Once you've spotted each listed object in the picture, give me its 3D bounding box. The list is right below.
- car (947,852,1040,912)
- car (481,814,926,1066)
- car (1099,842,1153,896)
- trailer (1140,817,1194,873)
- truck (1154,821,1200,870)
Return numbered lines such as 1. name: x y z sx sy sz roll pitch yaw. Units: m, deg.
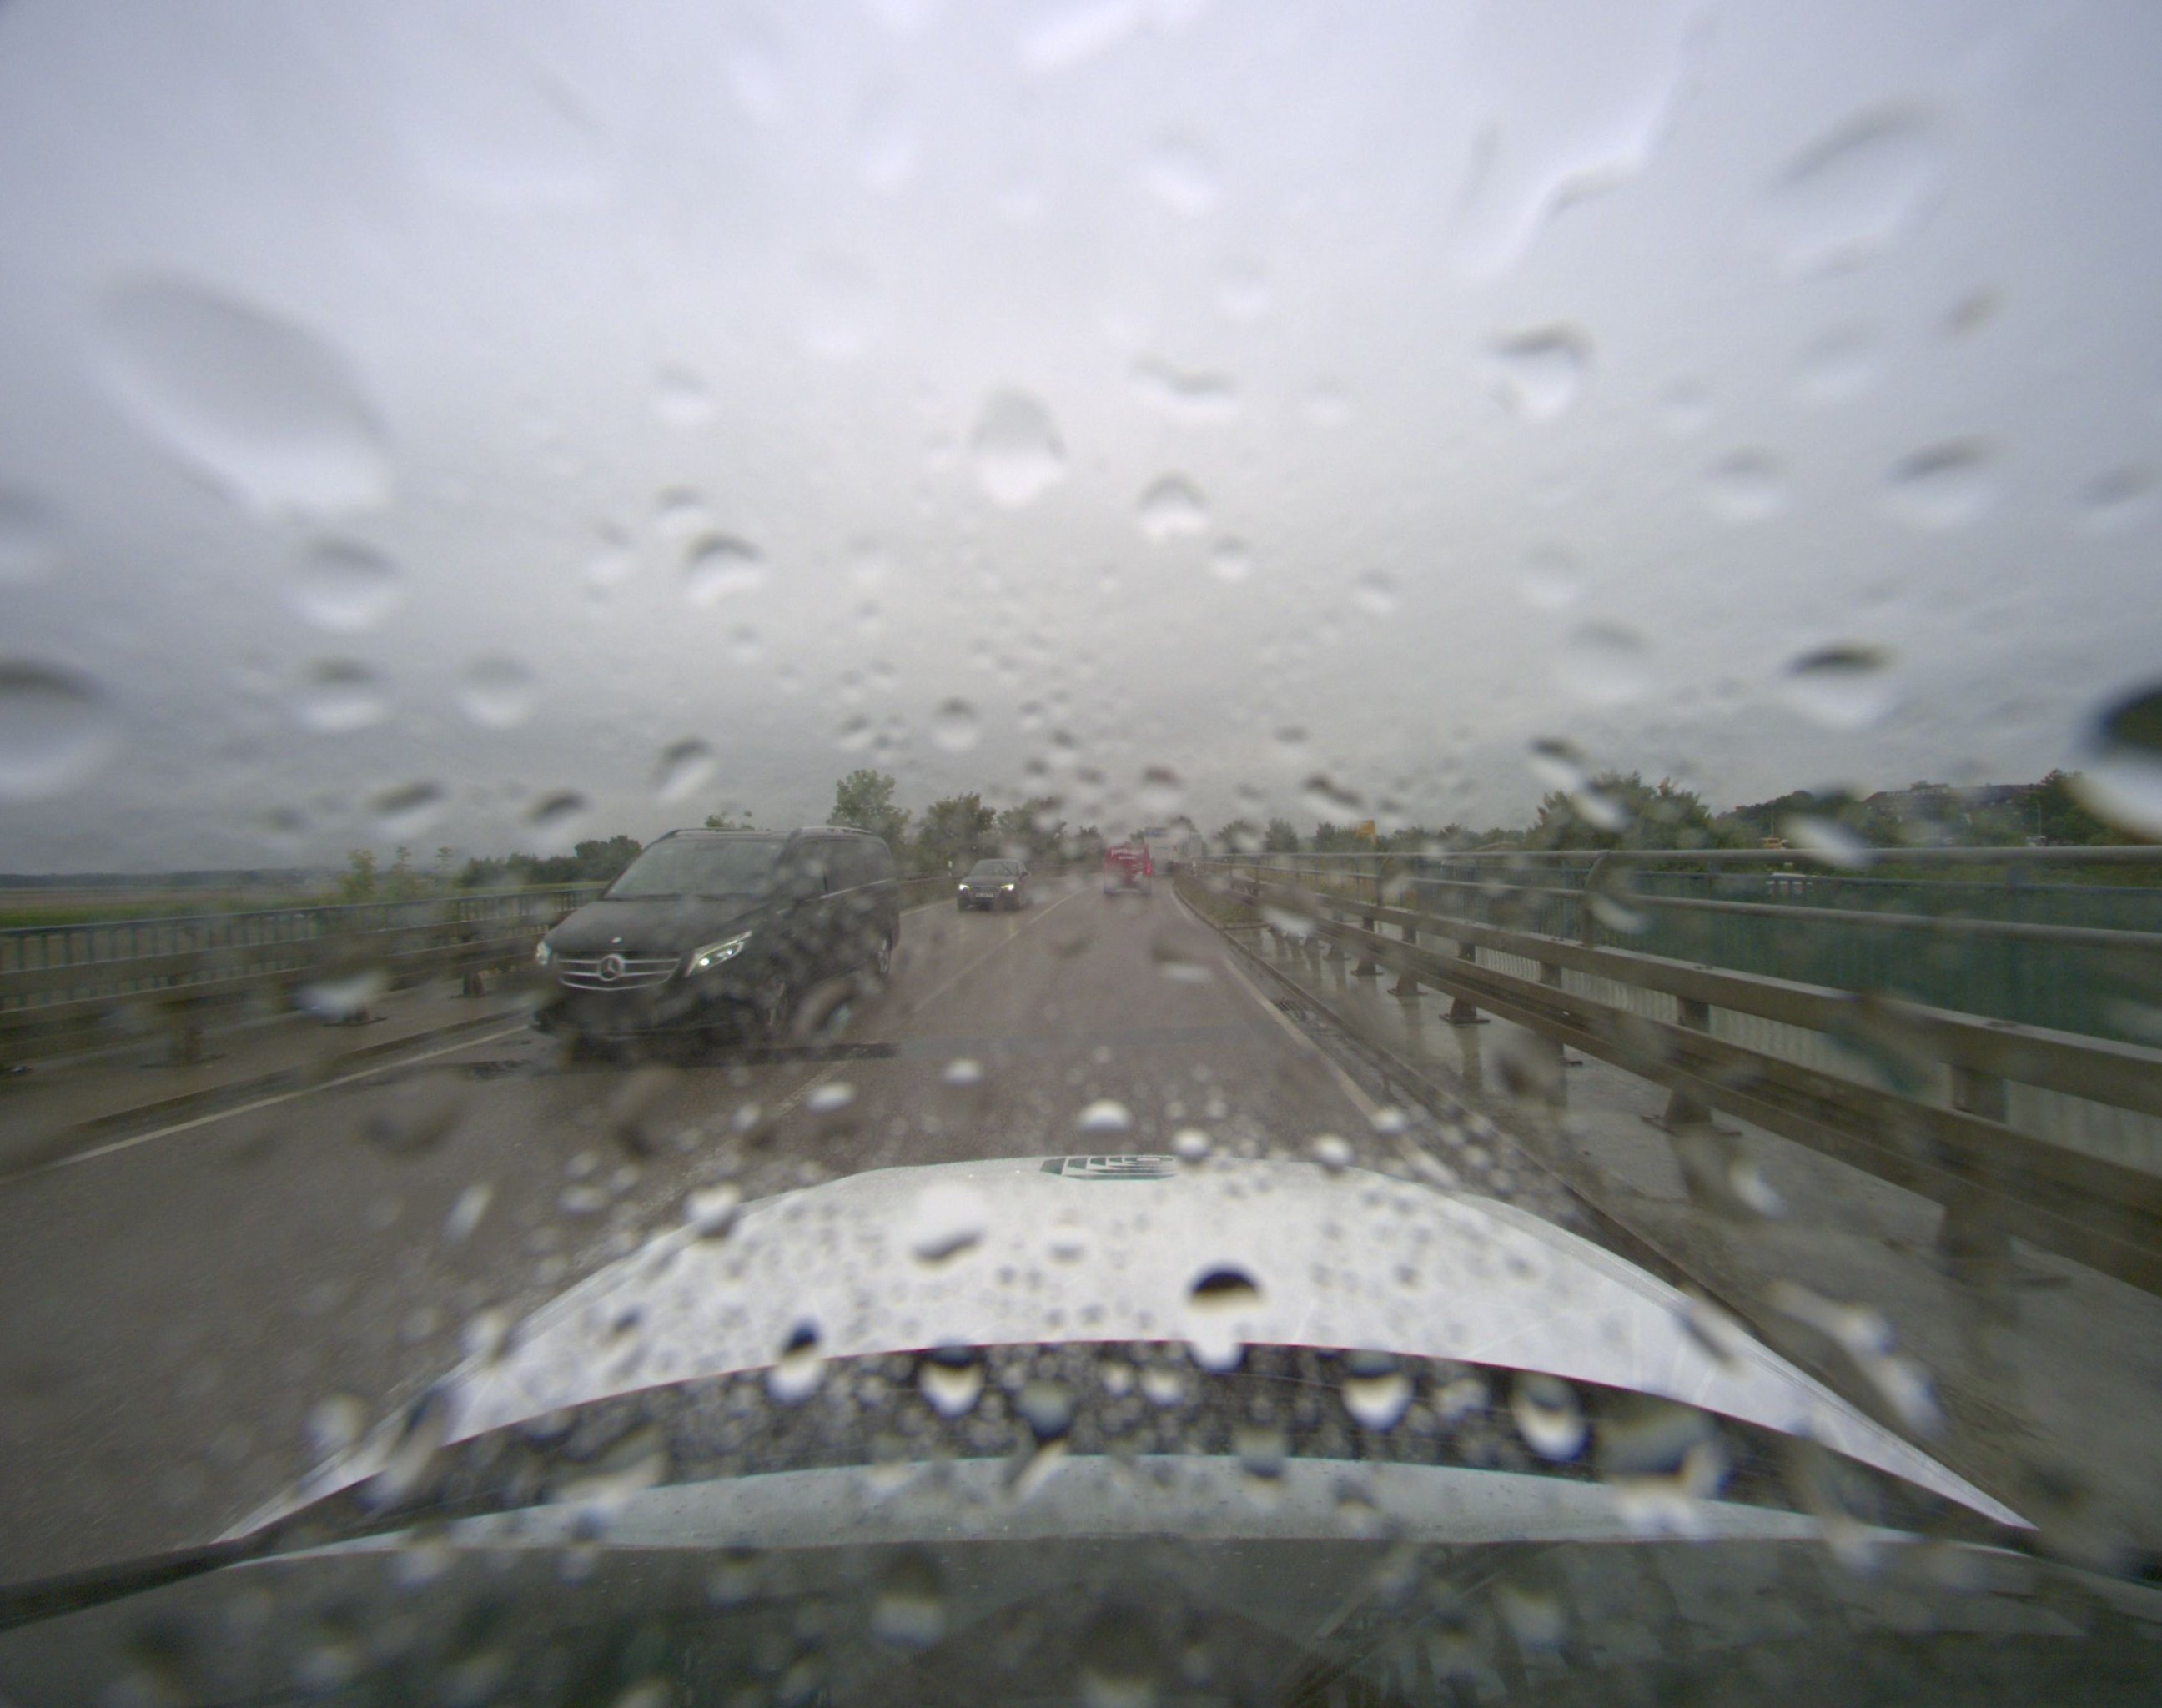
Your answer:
1. car: -2.466 0.744 23.917 1.829 1.537 4.076 -2 0 6
2. car: -3.319 0.631 8.577 2.057 1.837 4.936 -2 0 4
3. car: 1.730 0.535 32.290 1.986 1.925 4.146 0 1 2
4. trailer: 6.680 -0.657 62.267 3.181 3.921 8.767 1 0 11
5. truck: 8.442 -0.714 70.875 3.181 3.921 8.767 1 0 11
